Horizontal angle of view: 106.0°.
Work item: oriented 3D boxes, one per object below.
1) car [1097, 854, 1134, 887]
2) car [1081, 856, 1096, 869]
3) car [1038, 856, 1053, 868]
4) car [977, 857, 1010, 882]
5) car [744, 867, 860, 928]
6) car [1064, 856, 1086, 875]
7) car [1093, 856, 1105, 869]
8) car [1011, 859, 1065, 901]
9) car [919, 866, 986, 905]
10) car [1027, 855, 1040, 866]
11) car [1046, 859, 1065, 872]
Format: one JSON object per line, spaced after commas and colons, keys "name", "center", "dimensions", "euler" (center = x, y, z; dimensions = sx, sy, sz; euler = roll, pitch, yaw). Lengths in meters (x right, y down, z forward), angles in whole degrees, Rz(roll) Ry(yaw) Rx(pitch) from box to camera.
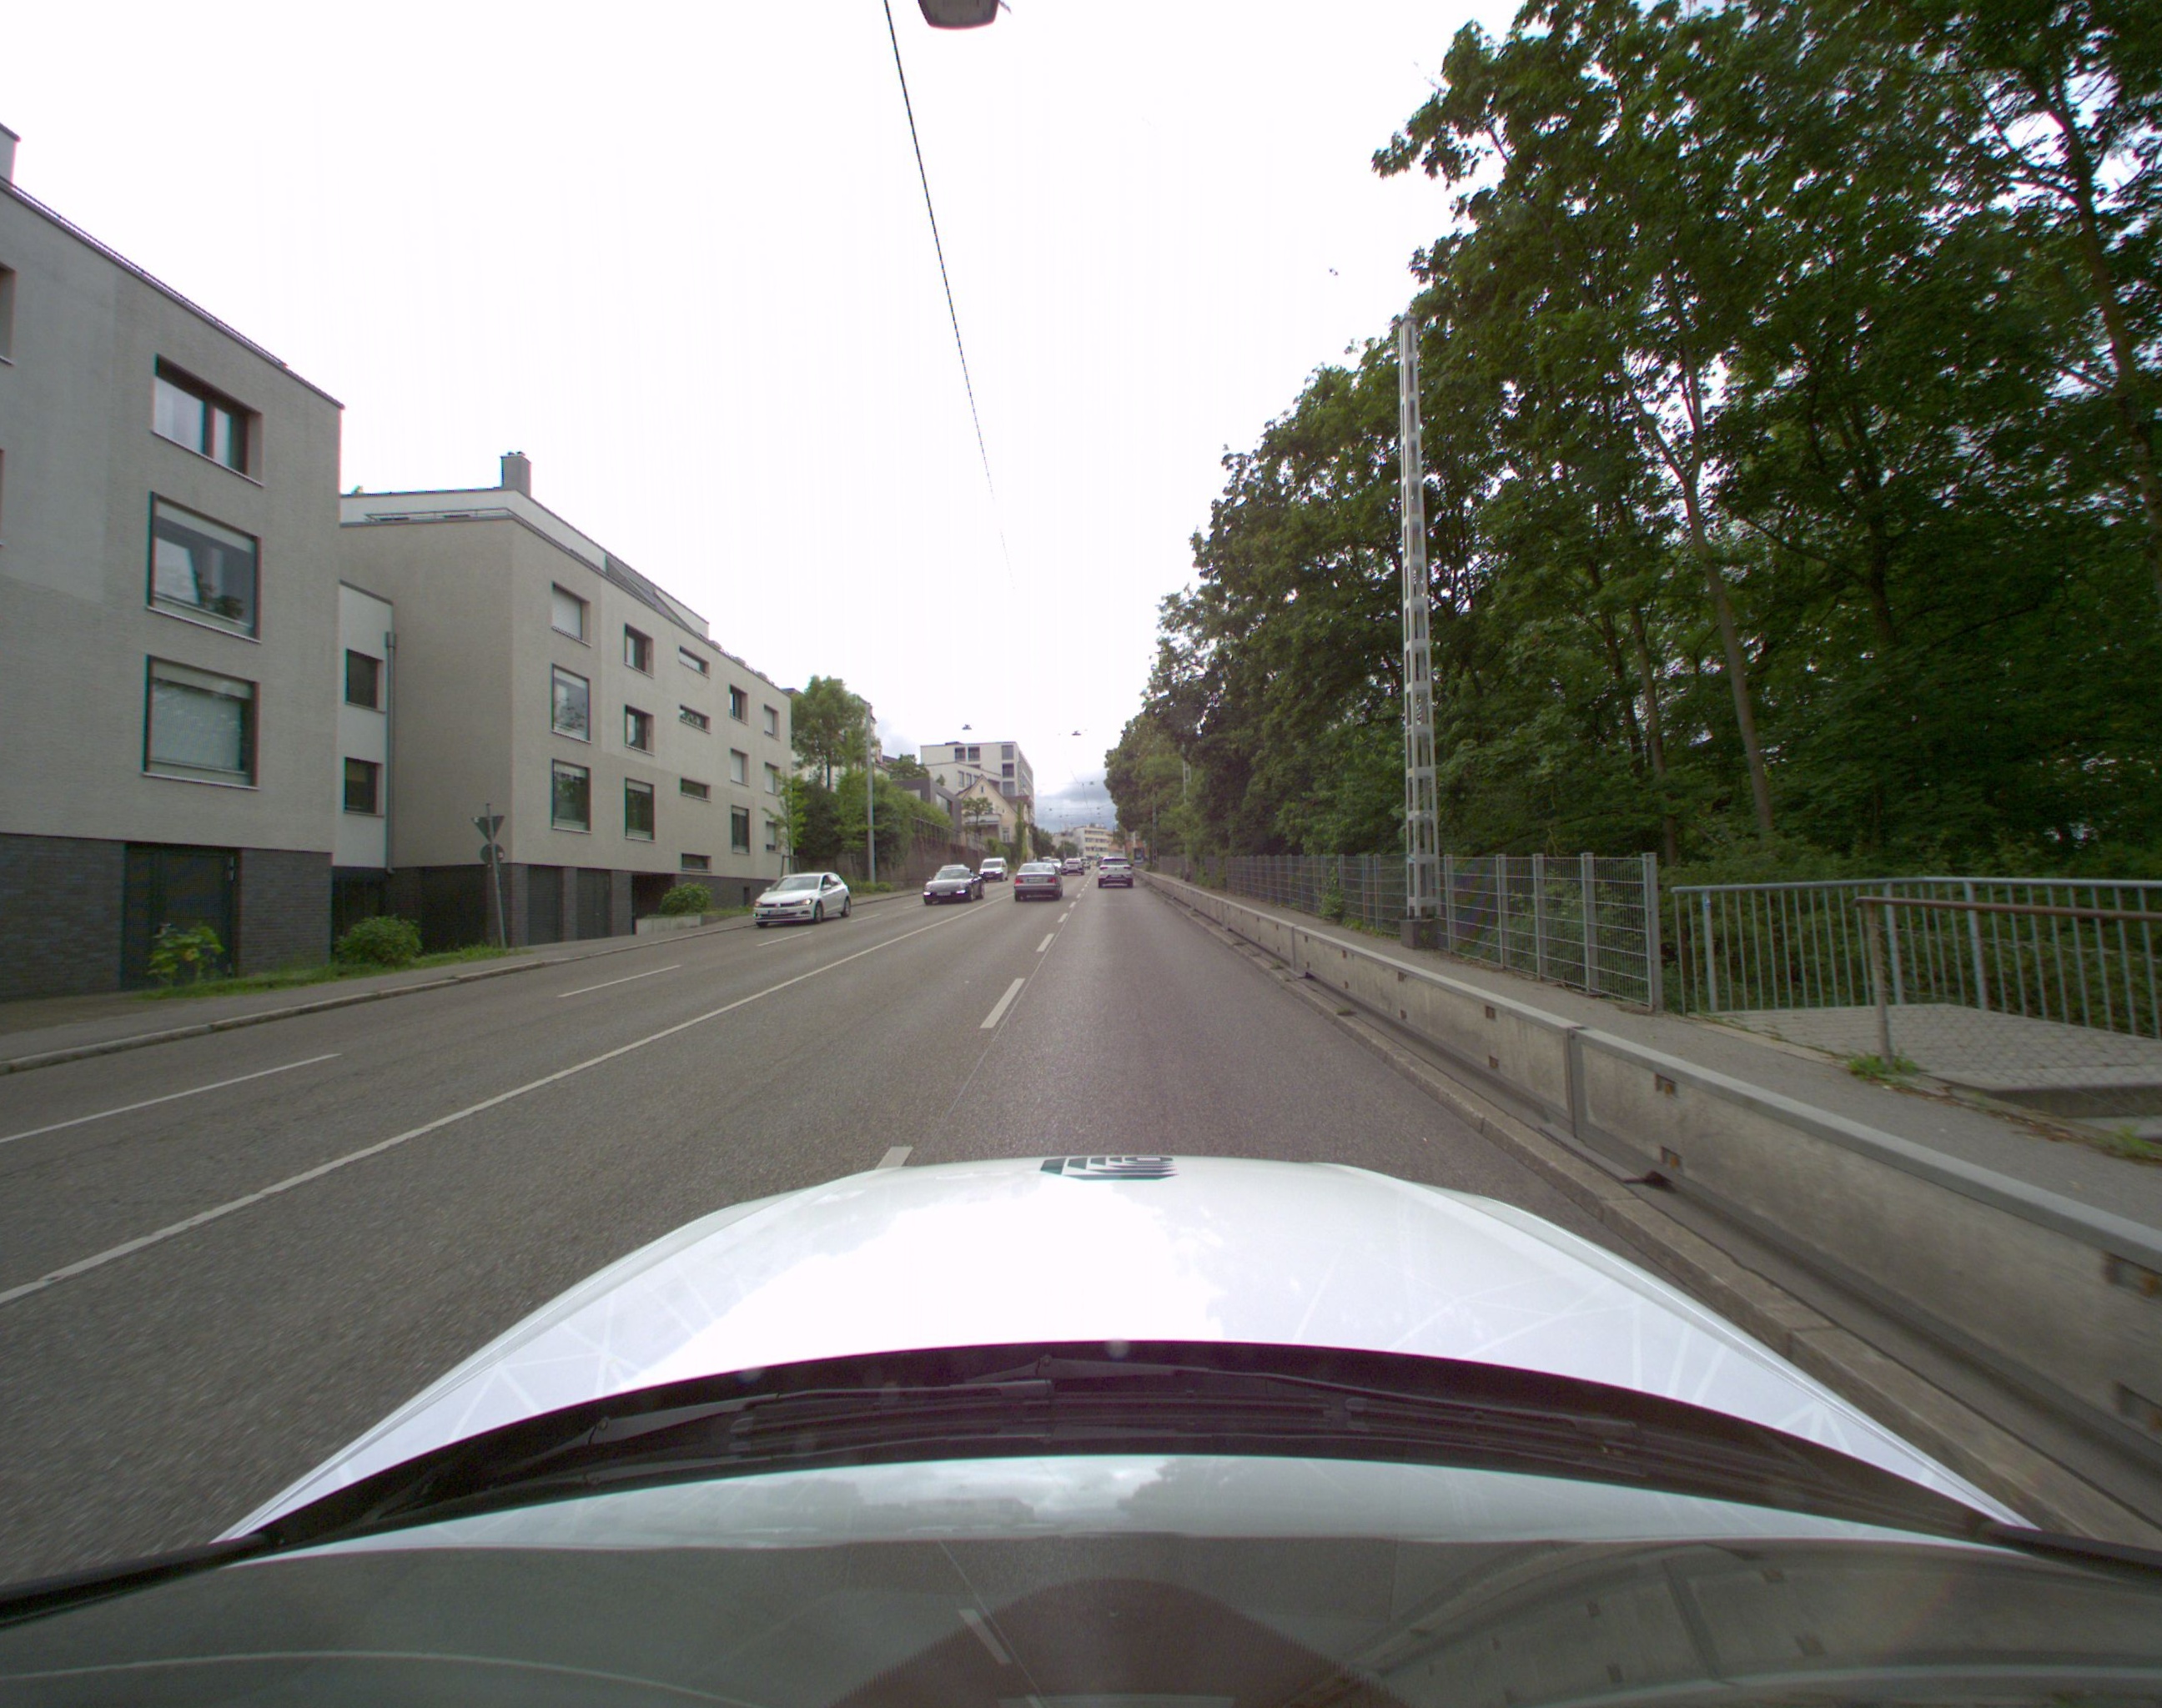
{"name": "car", "center": [1.733, 0.833, 42.072], "dimensions": [1.774, 1.579, 4.000], "euler": [-1, 0, 1]}
{"name": "car", "center": [0.955, 1.024, 100.265], "dimensions": [1.700, 1.464, 4.001], "euler": [-2, 0, 2]}
{"name": "car", "center": [-5.111, 1.146, 118.467], "dimensions": [1.810, 1.784, 4.497], "euler": [-2, 0, 2]}
{"name": "car", "center": [-6.715, 1.172, 62.884], "dimensions": [1.726, 1.788, 4.869], "euler": [-3, 0, 2]}
{"name": "car", "center": [-8.029, 1.194, 23.850], "dimensions": [1.767, 1.464, 4.193], "euler": [-3, 0, 2]}
{"name": "car", "center": [-0.504, 0.961, 70.050], "dimensions": [1.700, 1.464, 4.001], "euler": [-2, 0, 2]}
{"name": "car", "center": [2.520, 1.221, 115.266], "dimensions": [1.650, 1.765, 3.288], "euler": [-1, 0, 2]}
{"name": "car", "center": [-1.545, 0.930, 30.520], "dimensions": [1.700, 1.464, 4.001], "euler": [-1, 0, 2]}
{"name": "car", "center": [-4.852, 1.172, 31.340], "dimensions": [1.747, 1.269, 4.193], "euler": [-3, 0, 2]}
{"name": "car", "center": [-7.837, 1.037, 135.049], "dimensions": [1.989, 1.701, 3.996], "euler": [-2, 0, -2]}
{"name": "car", "center": [-2.878, 1.272, 91.855], "dimensions": [1.809, 1.386, 4.464], "euler": [-4, 0, 2]}
